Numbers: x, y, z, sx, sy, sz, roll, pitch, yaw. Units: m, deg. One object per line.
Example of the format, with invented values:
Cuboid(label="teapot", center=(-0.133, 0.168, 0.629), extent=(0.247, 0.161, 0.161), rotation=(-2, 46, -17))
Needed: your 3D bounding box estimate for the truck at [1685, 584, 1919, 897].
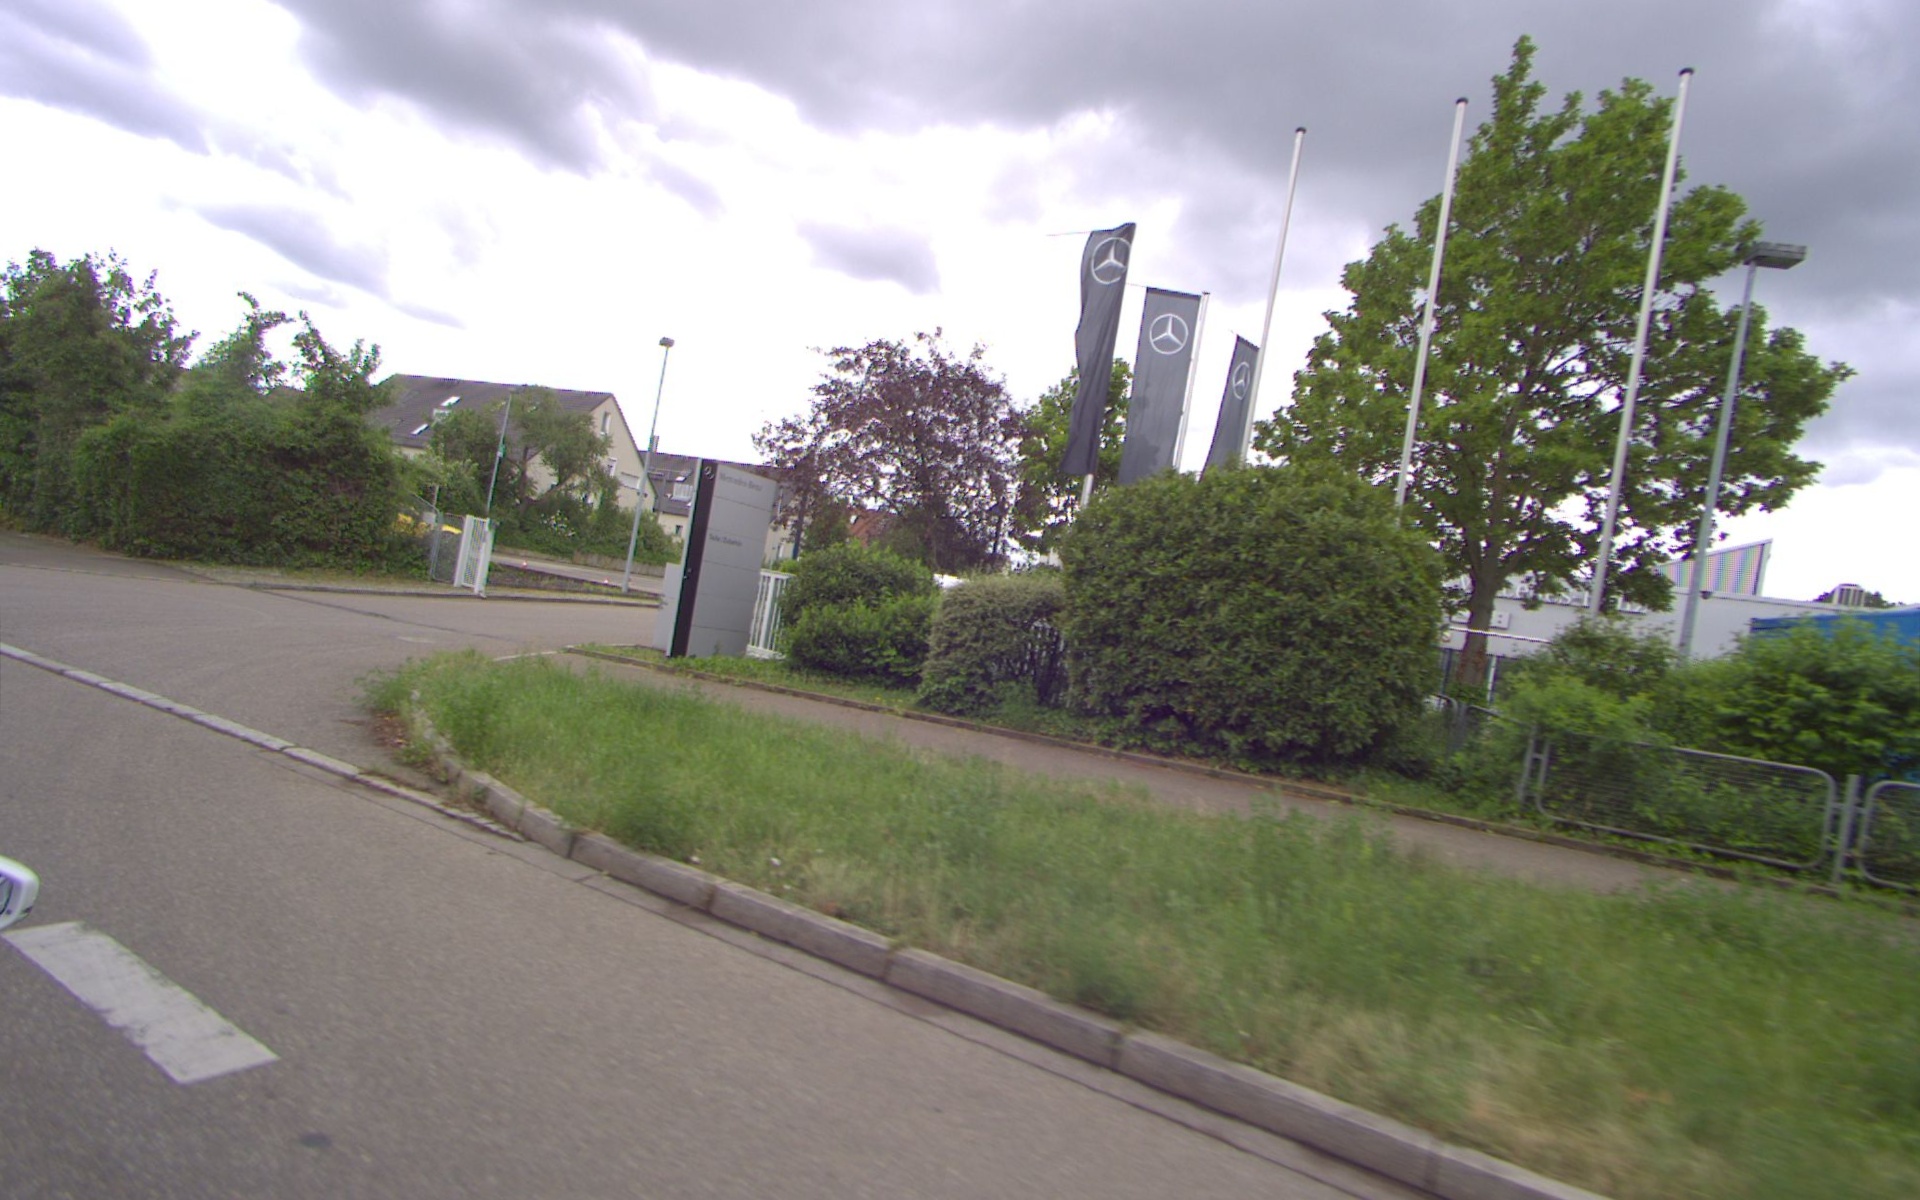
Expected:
Cuboid(label="truck", center=(12.227, 1.759, 11.948), extent=(2.569, 3.517, 7.195), rotation=(8, -1, 10))

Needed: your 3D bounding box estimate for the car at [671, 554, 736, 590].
Cuboid(label="car", center=(-16.960, -1.837, 66.454), extent=(4.022, 1.770, 1.796), rotation=(7, -2, 34))

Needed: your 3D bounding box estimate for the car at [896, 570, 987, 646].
Cuboid(label="car", center=(-0.915, 0.267, 43.769), extent=(2.230, 2.709, 5.427), rotation=(9, 1, -17))

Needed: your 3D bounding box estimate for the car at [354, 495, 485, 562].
Cuboid(label="car", center=(-19.880, -2.591, 37.203), extent=(3.953, 1.669, 1.989), rotation=(10, -2, -25))

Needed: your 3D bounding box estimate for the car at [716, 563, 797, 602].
Cuboid(label="car", center=(-10.899, -0.924, 53.691), extent=(3.979, 1.384, 1.995), rotation=(9, -2, -15))
